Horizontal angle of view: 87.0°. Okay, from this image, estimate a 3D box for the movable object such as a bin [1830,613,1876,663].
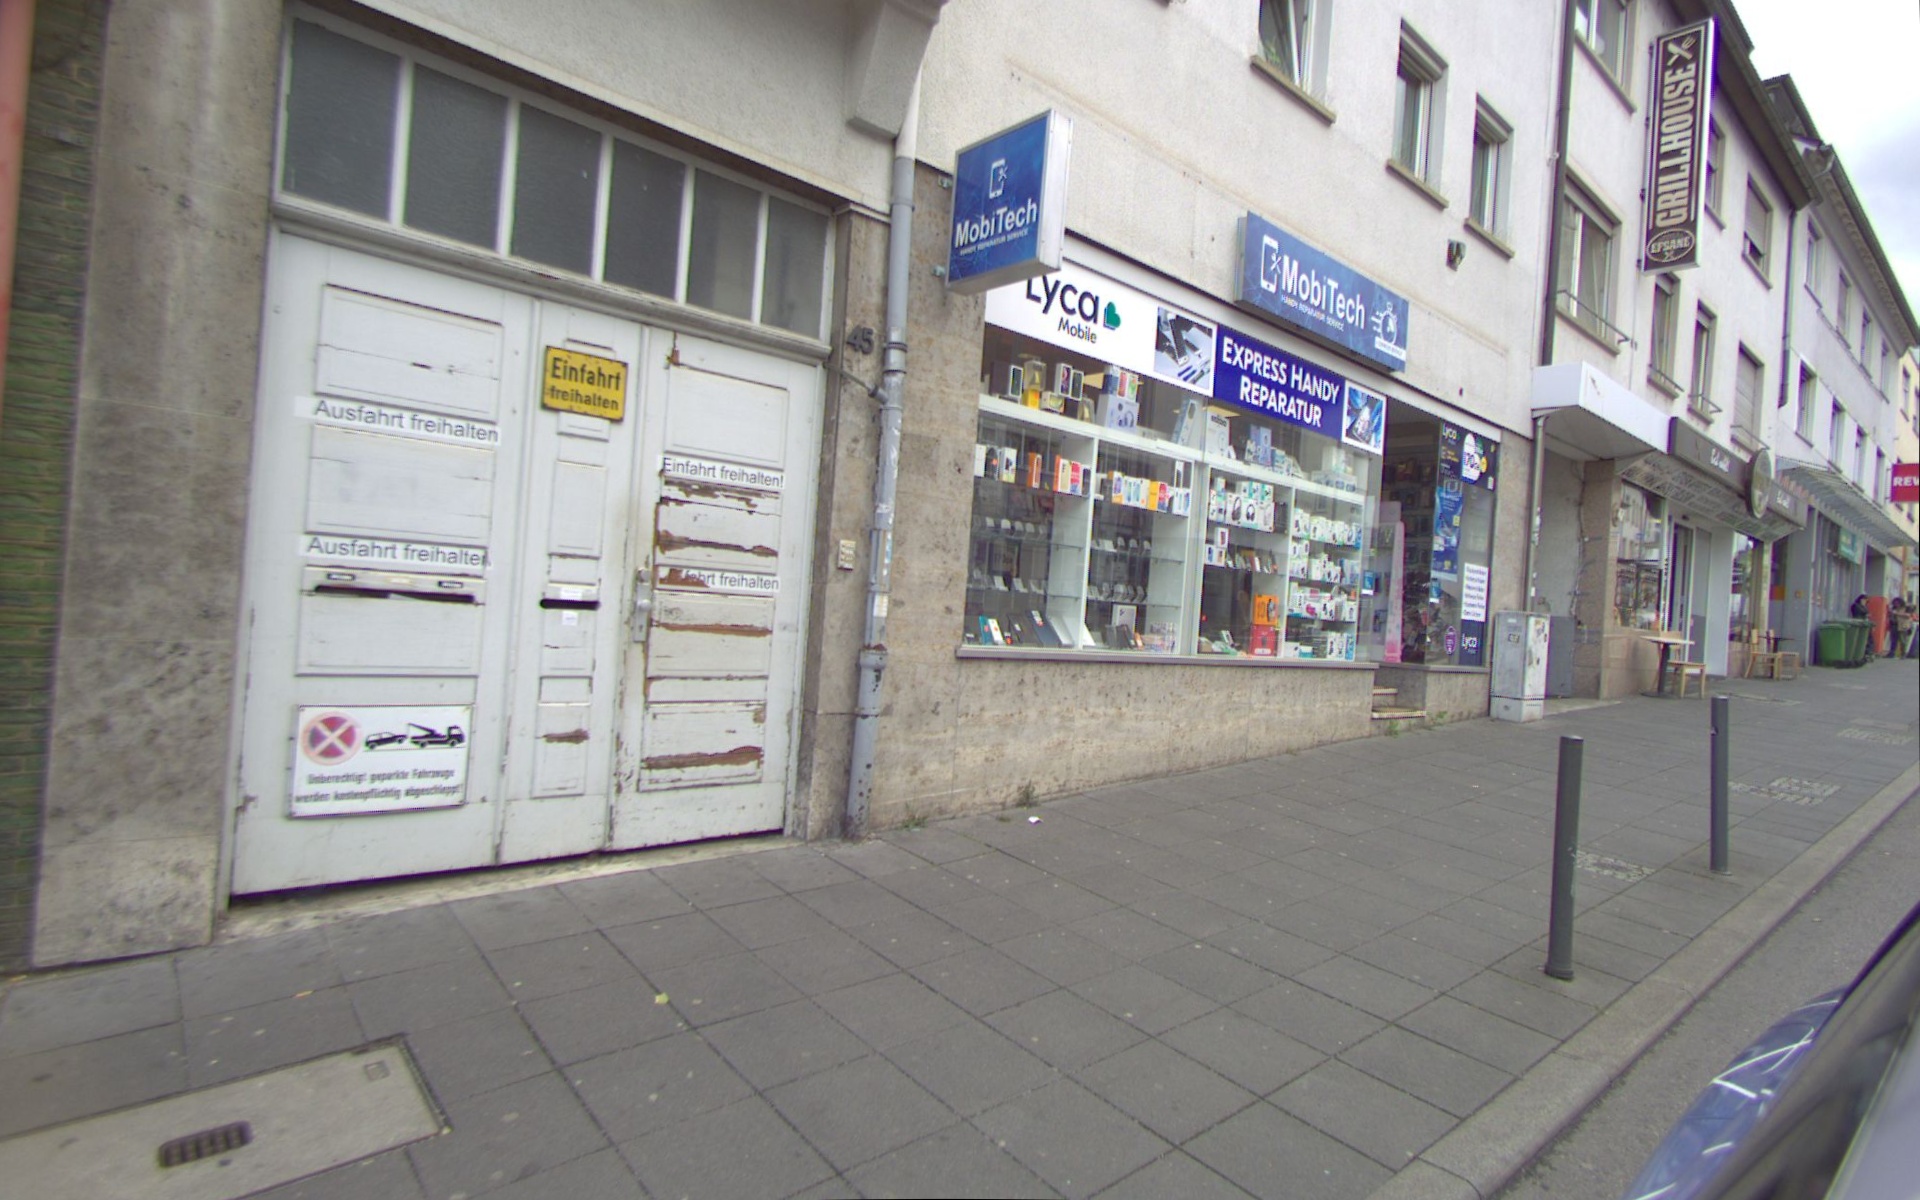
[{"bbox_3d":[19.751,0.823,22.387,0.550,1.043,0.670,1,2,-40],"label":"movable object such as a bin"}]

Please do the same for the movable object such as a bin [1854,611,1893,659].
[{"bbox_3d":[21.327,0.804,23.630,0.564,1.072,0.569,1,2,-40],"label":"movable object such as a bin"}]

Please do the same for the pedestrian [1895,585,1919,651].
[{"bbox_3d":[26.097,0.495,27.706,0.626,1.746,0.597,5,4,44],"label":"pedestrian"}]

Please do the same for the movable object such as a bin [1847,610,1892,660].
[{"bbox_3d":[20.857,0.786,23.207,0.648,1.094,0.652,1,2,-40],"label":"movable object such as a bin"}]

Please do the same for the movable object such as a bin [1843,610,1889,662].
[{"bbox_3d":[20.323,0.794,22.712,0.661,1.094,0.652,1,2,-41],"label":"movable object such as a bin"}]

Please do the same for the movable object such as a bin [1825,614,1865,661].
[{"bbox_3d":[19.265,0.813,22.030,0.489,0.968,0.568,1,2,-40],"label":"movable object such as a bin"}]

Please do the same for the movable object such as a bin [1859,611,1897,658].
[{"bbox_3d":[21.767,0.803,23.998,0.549,1.070,0.559,1,2,-40],"label":"movable object such as a bin"}]

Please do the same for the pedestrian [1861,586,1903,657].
[{"bbox_3d":[22.984,0.516,25.246,0.621,1.747,0.601,0,0,26],"label":"pedestrian"}]
